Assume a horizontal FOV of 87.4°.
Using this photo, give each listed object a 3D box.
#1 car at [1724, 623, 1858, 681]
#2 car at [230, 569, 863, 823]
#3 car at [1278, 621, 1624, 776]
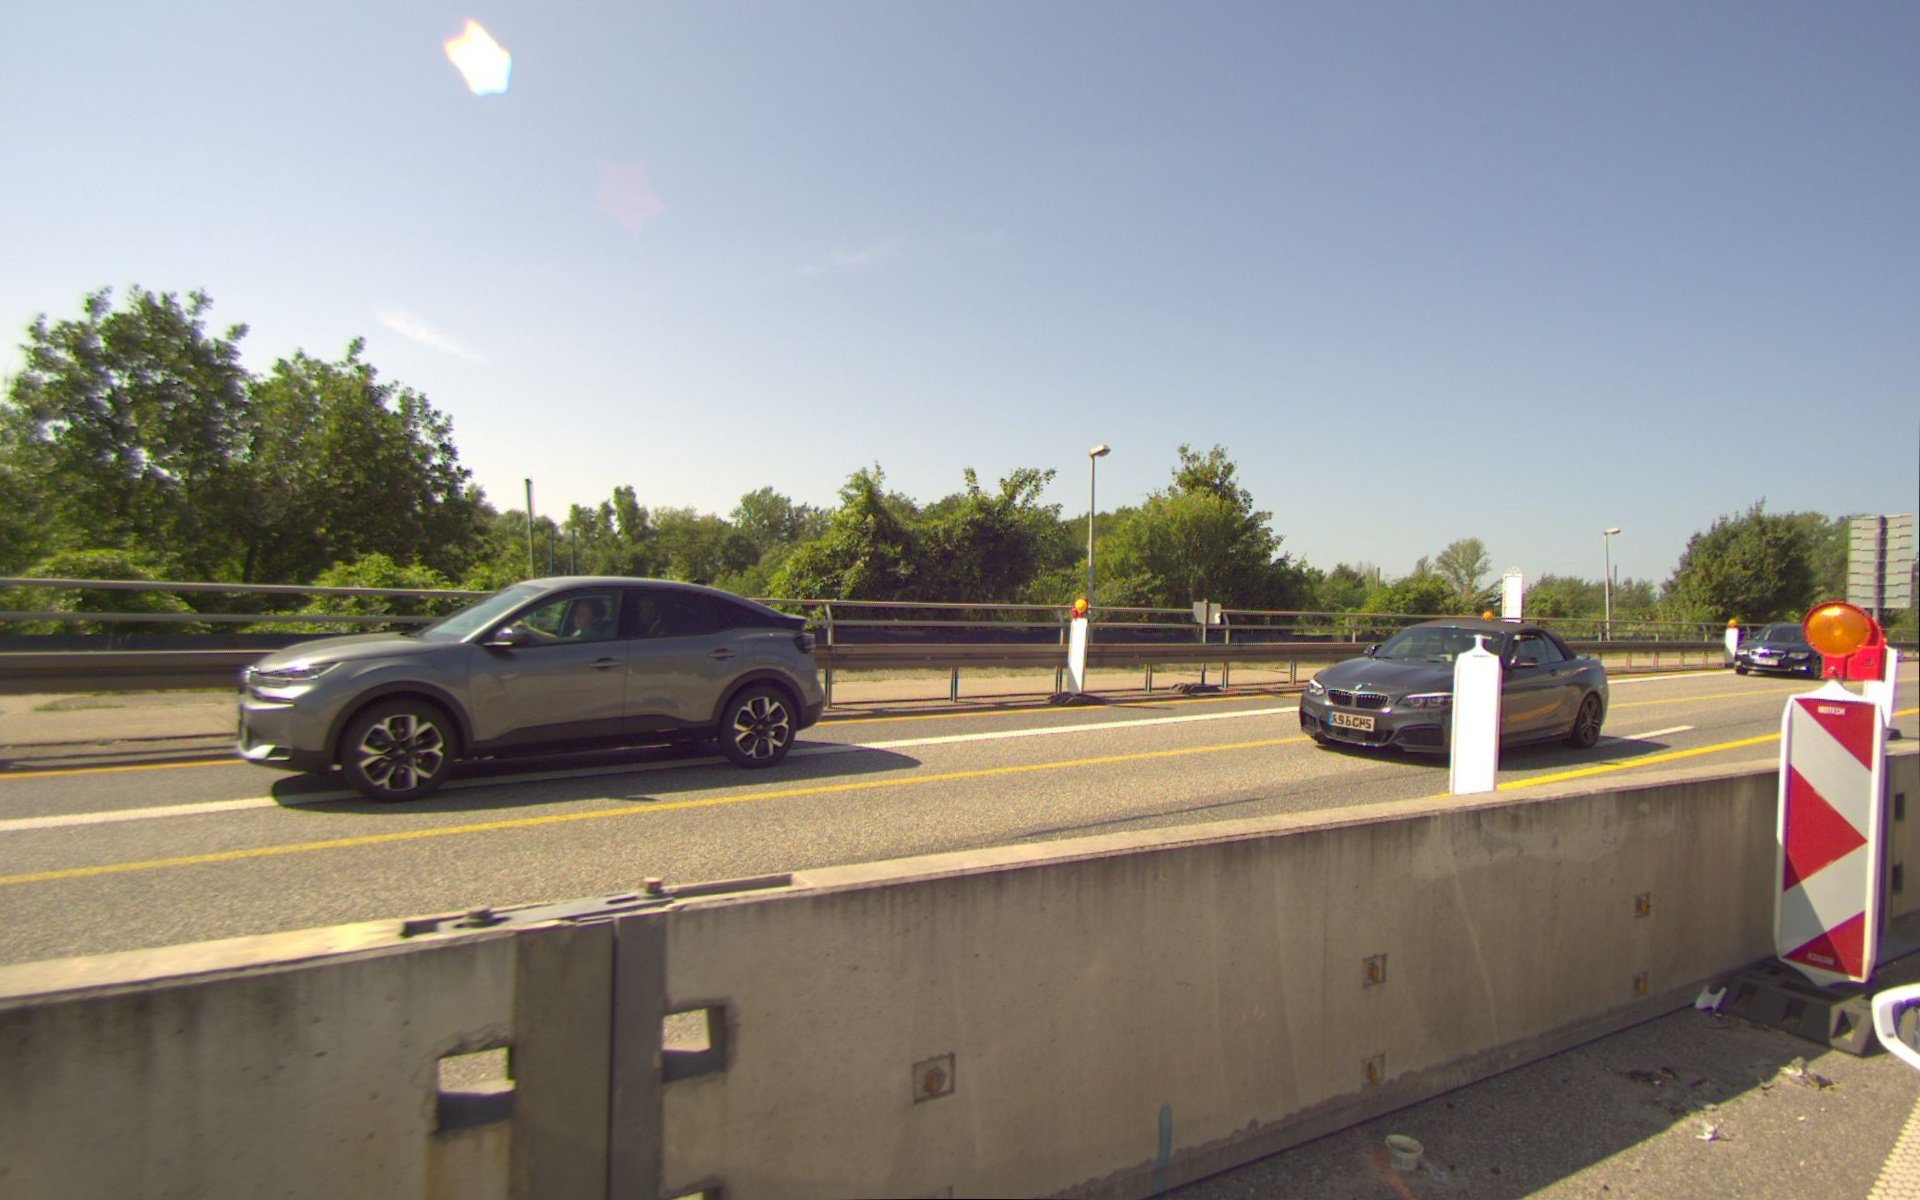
[{"bbox_3d":[23.199,1.419,27.980,4.948,1.461,1.656,2,0,-36],"label":"car"},{"bbox_3d":[-3.181,0.624,8.208,4.430,1.528,1.917,2,-1,-39],"label":"car"},{"bbox_3d":[5.551,0.966,11.161,4.231,1.394,1.677,2,-1,-36],"label":"car"}]
